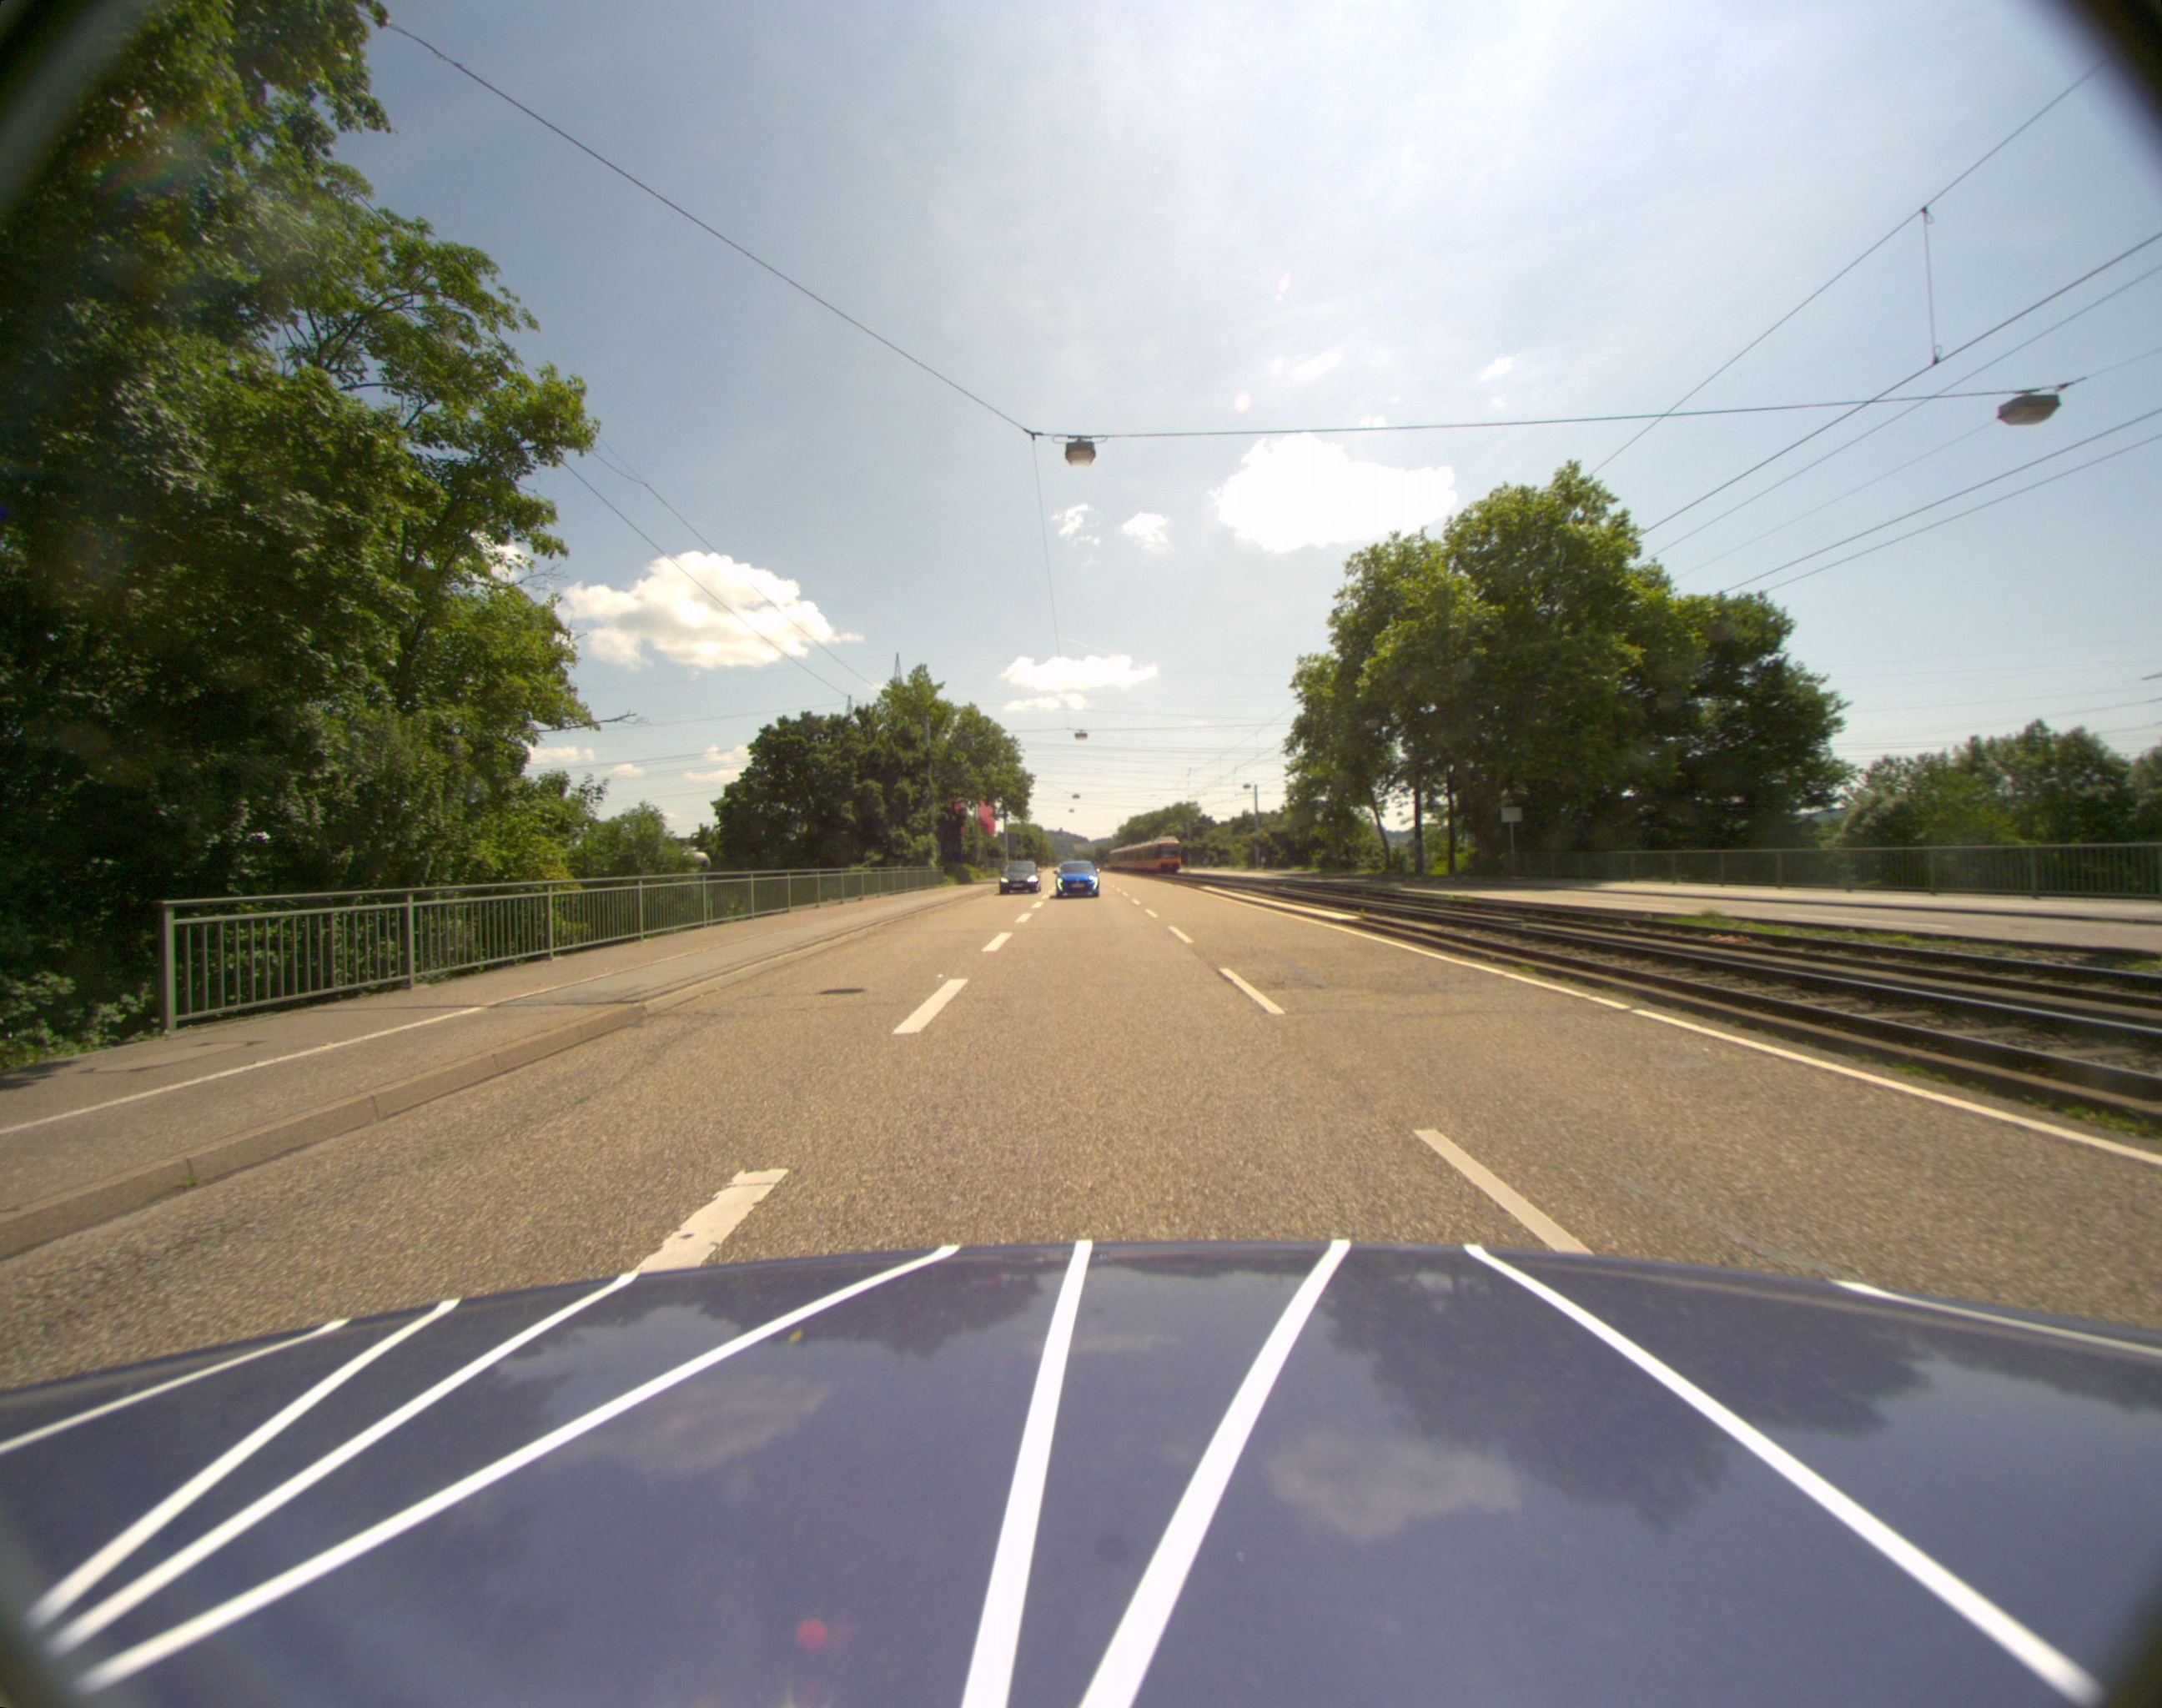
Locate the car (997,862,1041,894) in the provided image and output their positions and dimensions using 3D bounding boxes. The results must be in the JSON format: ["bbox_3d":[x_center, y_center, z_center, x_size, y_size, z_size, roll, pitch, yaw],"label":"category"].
[{"bbox_3d":[-2.928,1.128,36.715,1.771,1.422,4.000,-2,-1,-1],"label":"car"}]

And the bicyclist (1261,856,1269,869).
[{"bbox_3d":[21.337,0.980,88.040,0.712,1.475,0.918,-2,0,-1],"label":"bicyclist"}]

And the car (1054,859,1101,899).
[{"bbox_3d":[-0.139,0.993,31.725,1.771,1.463,4.467,-2,-1,-1],"label":"car"}]

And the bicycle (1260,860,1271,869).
[{"bbox_3d":[21.359,1.209,87.967,0.712,0.912,2.183,-2,0,-1],"label":"bicycle"}]

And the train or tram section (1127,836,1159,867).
[{"bbox_3d":[8.644,-0.269,107.435,3.046,4.130,13.481,-1,0,-1],"label":"train or tram section"}]

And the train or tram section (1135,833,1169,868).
[{"bbox_3d":[8.909,-0.351,96.220,3.046,4.124,10.232,-1,0,-2],"label":"train or tram section"}]

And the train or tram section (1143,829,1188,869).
[{"bbox_3d":[9.236,-0.448,84.894,3.046,4.116,13.980,-1,0,-2],"label":"train or tram section"}]
